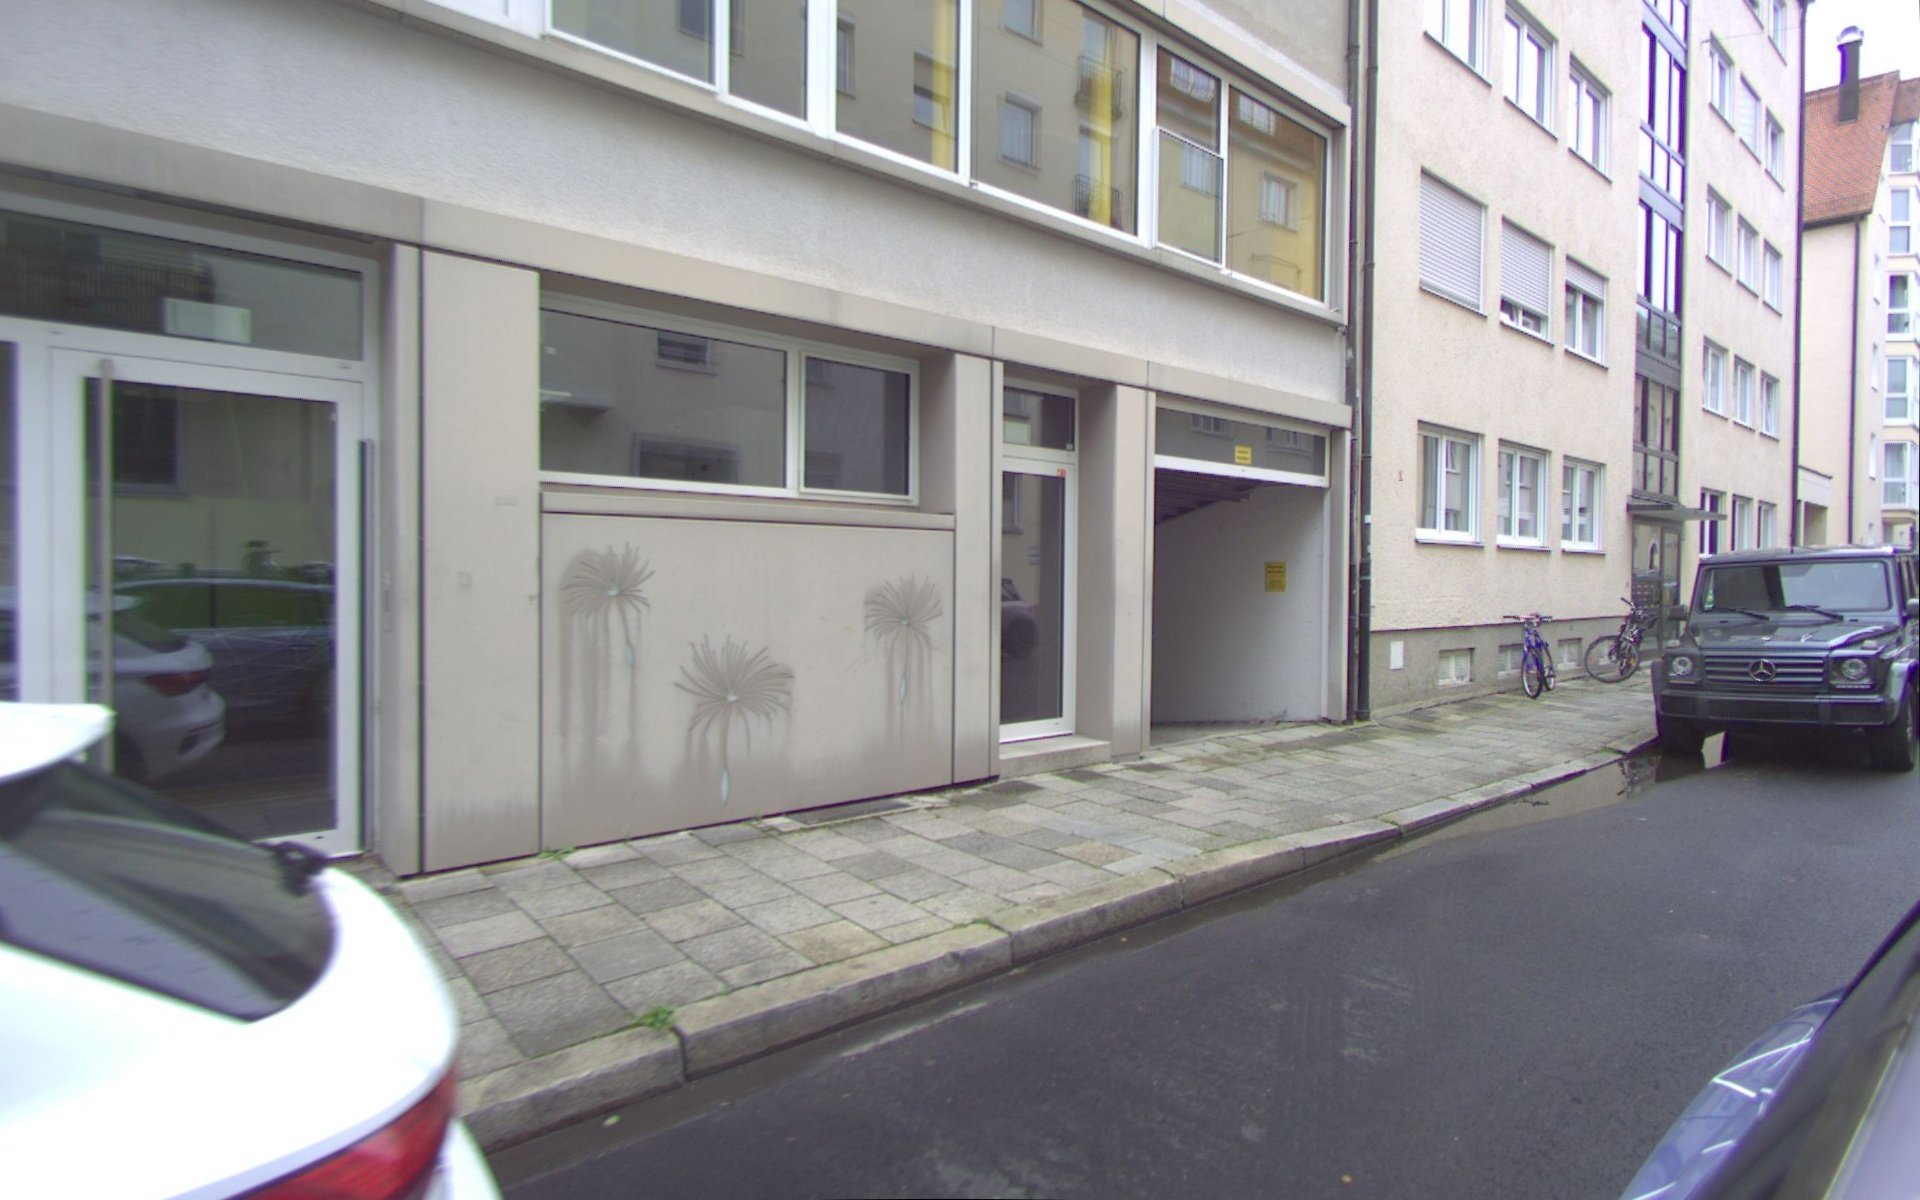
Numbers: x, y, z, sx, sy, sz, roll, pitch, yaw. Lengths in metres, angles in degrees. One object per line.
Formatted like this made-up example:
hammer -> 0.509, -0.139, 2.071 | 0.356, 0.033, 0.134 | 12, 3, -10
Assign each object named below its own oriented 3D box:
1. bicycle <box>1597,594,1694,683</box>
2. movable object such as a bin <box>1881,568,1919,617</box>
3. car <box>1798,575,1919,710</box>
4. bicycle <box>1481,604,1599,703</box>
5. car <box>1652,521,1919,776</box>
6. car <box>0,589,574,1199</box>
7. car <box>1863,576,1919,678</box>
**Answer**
bicycle -> 9.843, 0.519, 14.509 | 1.730, 1.119, 0.656 | -2, 5, -41
movable object such as a bin -> 29.316, -0.253, 31.255 | 1.559, 1.440, 1.034 | -2, 4, -40
car -> 12.367, 0.451, 13.149 | 4.172, 1.504, 1.713 | -2, 1, -42
bicycle -> 7.136, 0.617, 12.419 | 1.766, 1.041, 0.646 | -2, 6, -41
car -> 8.513, 0.382, 10.042 | 4.269, 2.001, 1.753 | -1, -1, -42
car -> -2.454, 0.721, 0.462 | 3.886, 1.426, 1.820 | -1, 1, -43
car -> 16.202, 0.376, 16.556 | 4.172, 1.504, 1.713 | -2, 1, -42
